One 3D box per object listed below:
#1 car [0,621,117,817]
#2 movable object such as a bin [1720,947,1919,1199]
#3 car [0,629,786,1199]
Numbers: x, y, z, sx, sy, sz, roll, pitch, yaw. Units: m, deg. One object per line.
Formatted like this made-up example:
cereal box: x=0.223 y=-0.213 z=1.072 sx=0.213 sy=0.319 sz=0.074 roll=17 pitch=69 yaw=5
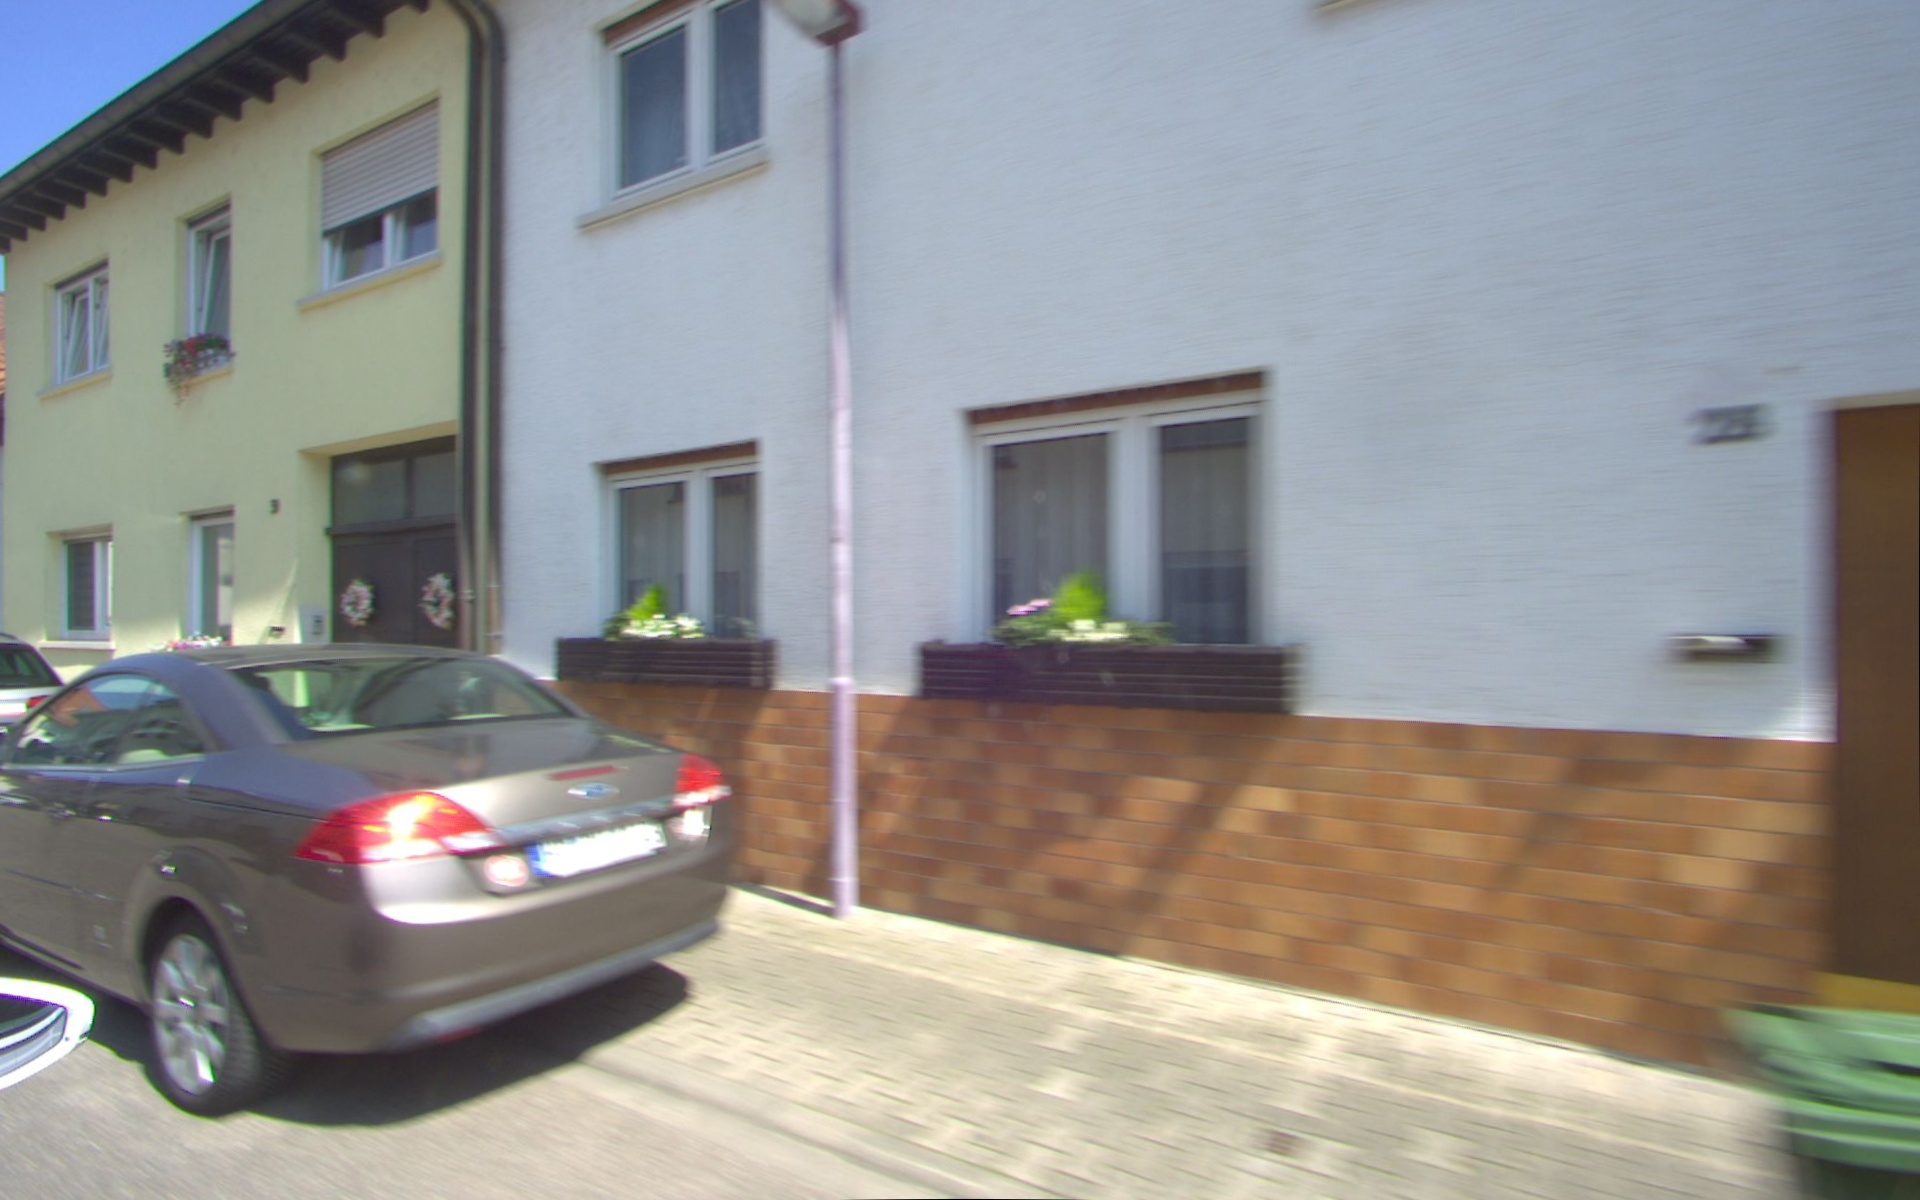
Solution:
car: x=-9.342 y=0.913 z=8.559 sx=4.706 sy=1.466 sz=1.836 roll=-1 pitch=-3 yaw=31
movable object such as a bin: x=1.518 y=1.067 z=1.436 sx=0.570 sy=0.903 sz=0.550 roll=-1 pitch=-1 yaw=26
car: x=-2.865 y=0.872 z=4.352 sx=4.043 sy=1.453 sz=1.695 roll=-1 pitch=-3 yaw=31
